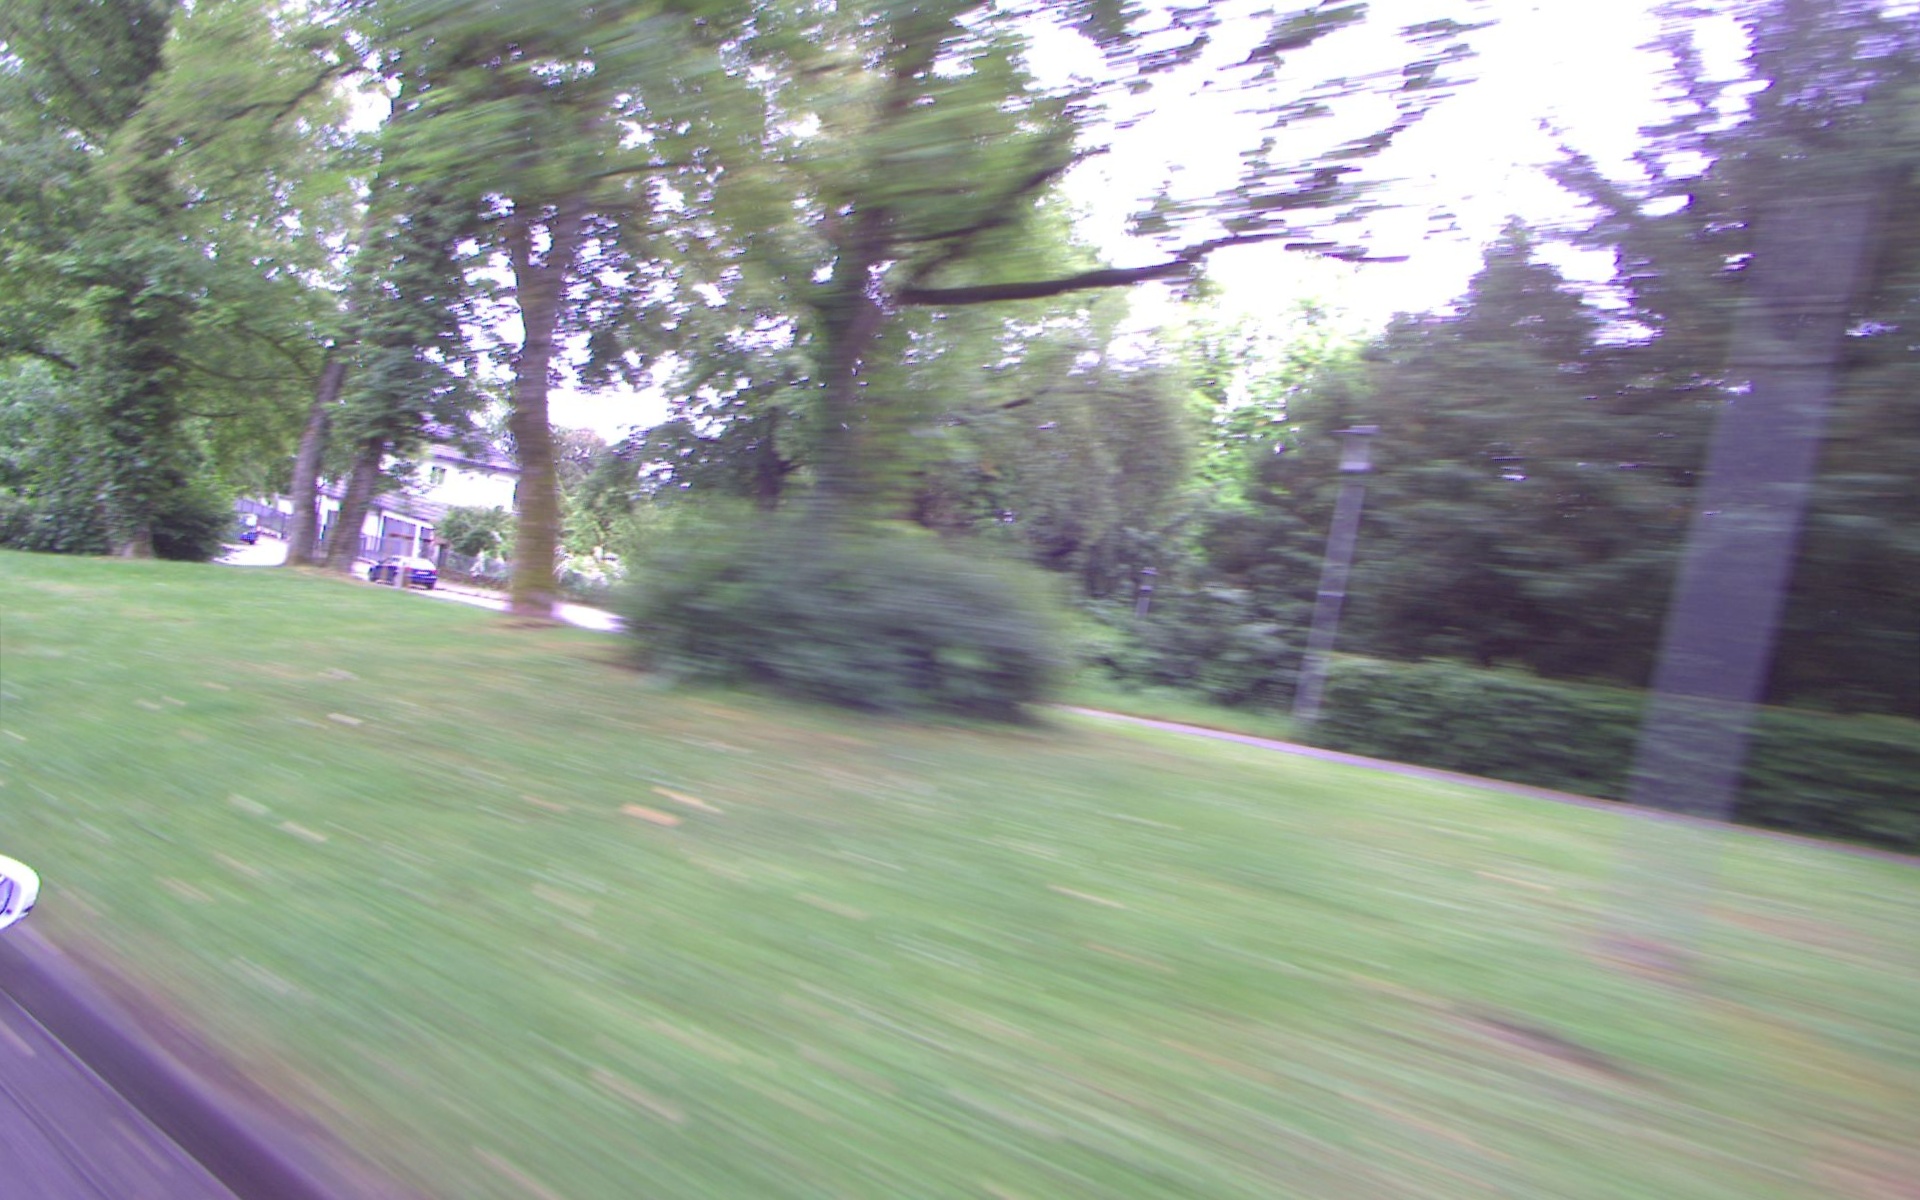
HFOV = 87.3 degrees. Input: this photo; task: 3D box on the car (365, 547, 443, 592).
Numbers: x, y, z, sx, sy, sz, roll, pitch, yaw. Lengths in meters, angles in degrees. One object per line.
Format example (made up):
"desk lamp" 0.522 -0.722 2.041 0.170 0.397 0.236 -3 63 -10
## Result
"car" -26.464 -1.457 47.808 3.942 1.650 1.807 7 -1 40
